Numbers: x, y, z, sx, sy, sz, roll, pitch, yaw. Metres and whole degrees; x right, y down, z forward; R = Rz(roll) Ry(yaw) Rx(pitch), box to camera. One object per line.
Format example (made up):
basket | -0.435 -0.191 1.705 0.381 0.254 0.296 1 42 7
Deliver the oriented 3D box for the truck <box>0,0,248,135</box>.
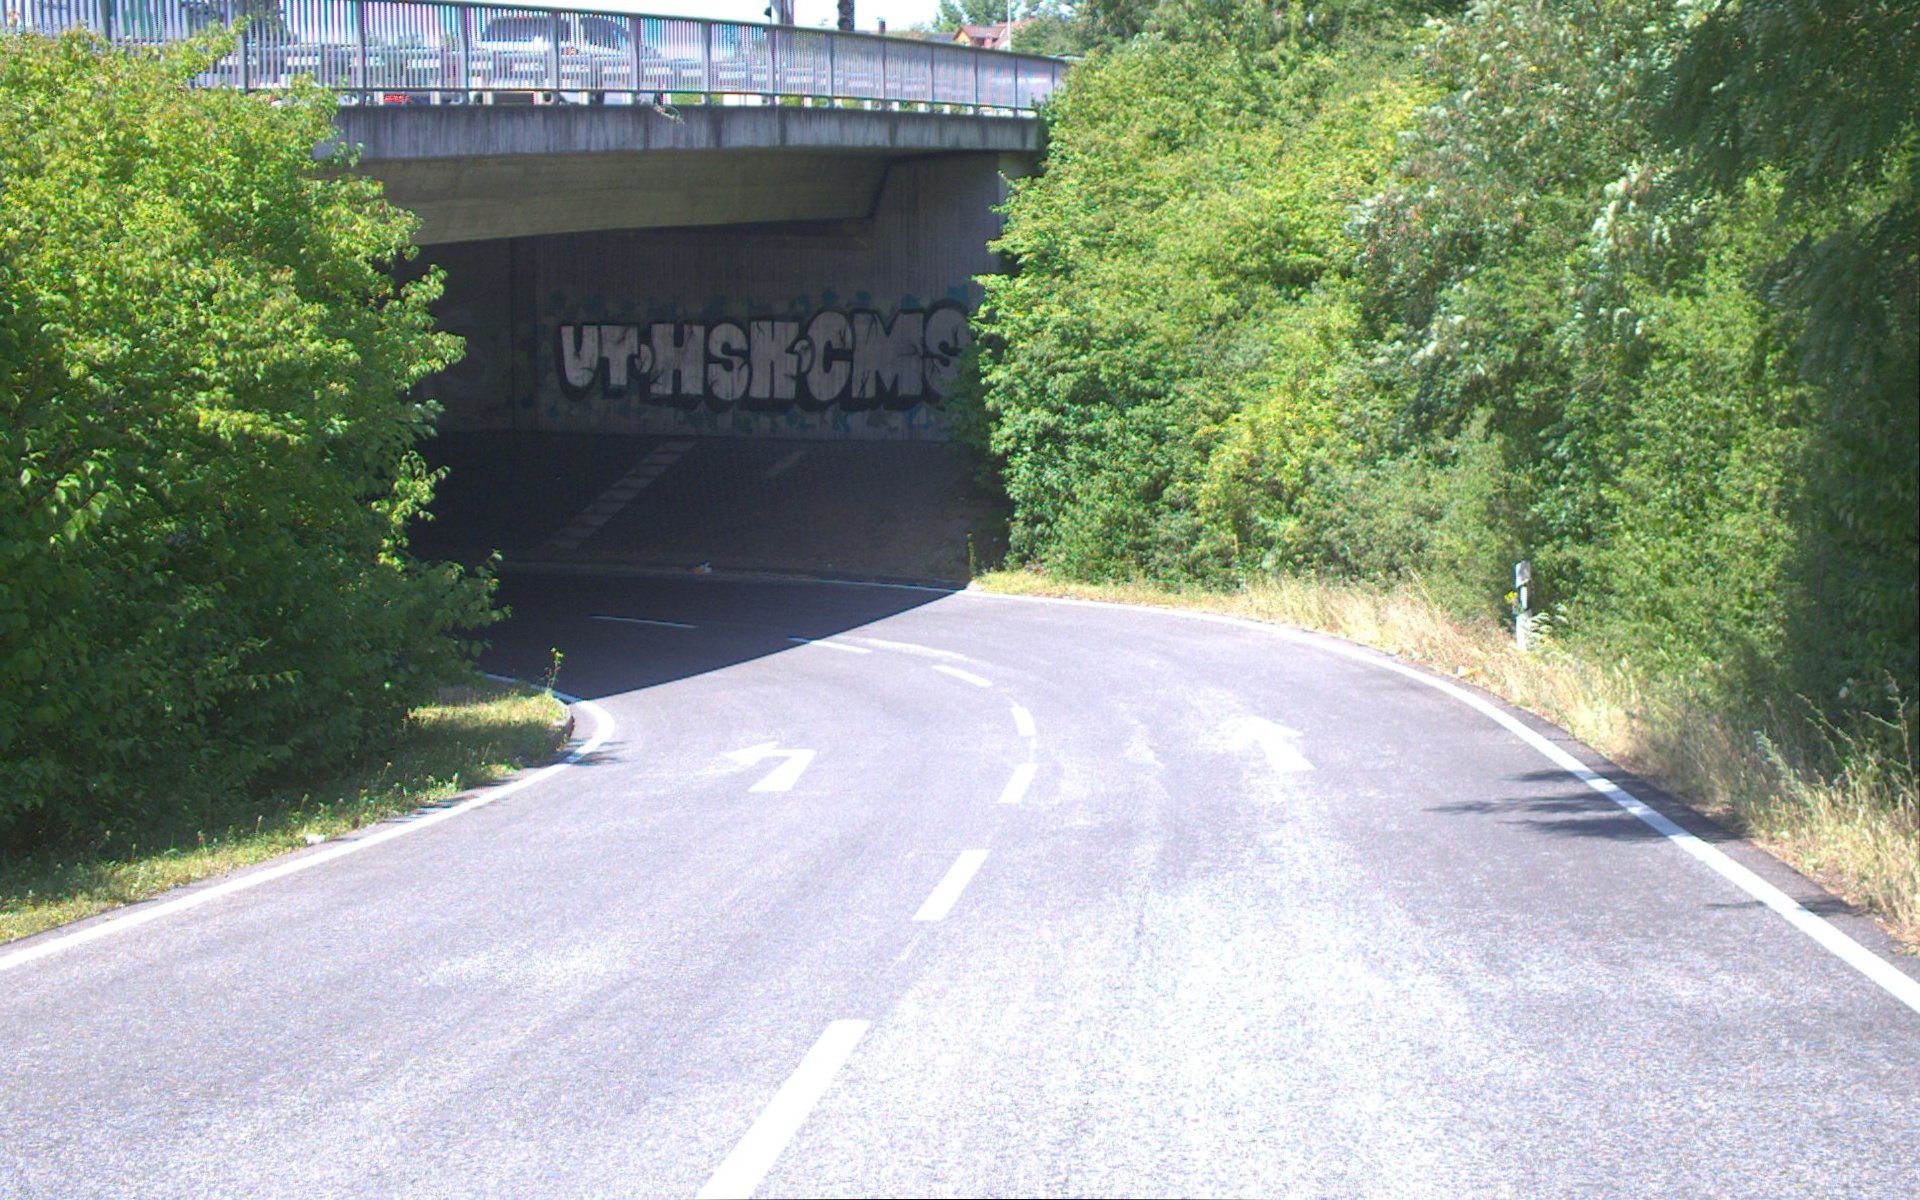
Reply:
truck | -15.471 -9.874 57.758 3.029 3.576 8.899 0 5 15

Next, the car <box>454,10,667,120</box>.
car | -5.349 -7.193 46.457 1.613 1.185 3.477 0 5 16

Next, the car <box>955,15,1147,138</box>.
car | 1.761 -9.879 65.195 1.997 2.006 3.995 1 5 28
